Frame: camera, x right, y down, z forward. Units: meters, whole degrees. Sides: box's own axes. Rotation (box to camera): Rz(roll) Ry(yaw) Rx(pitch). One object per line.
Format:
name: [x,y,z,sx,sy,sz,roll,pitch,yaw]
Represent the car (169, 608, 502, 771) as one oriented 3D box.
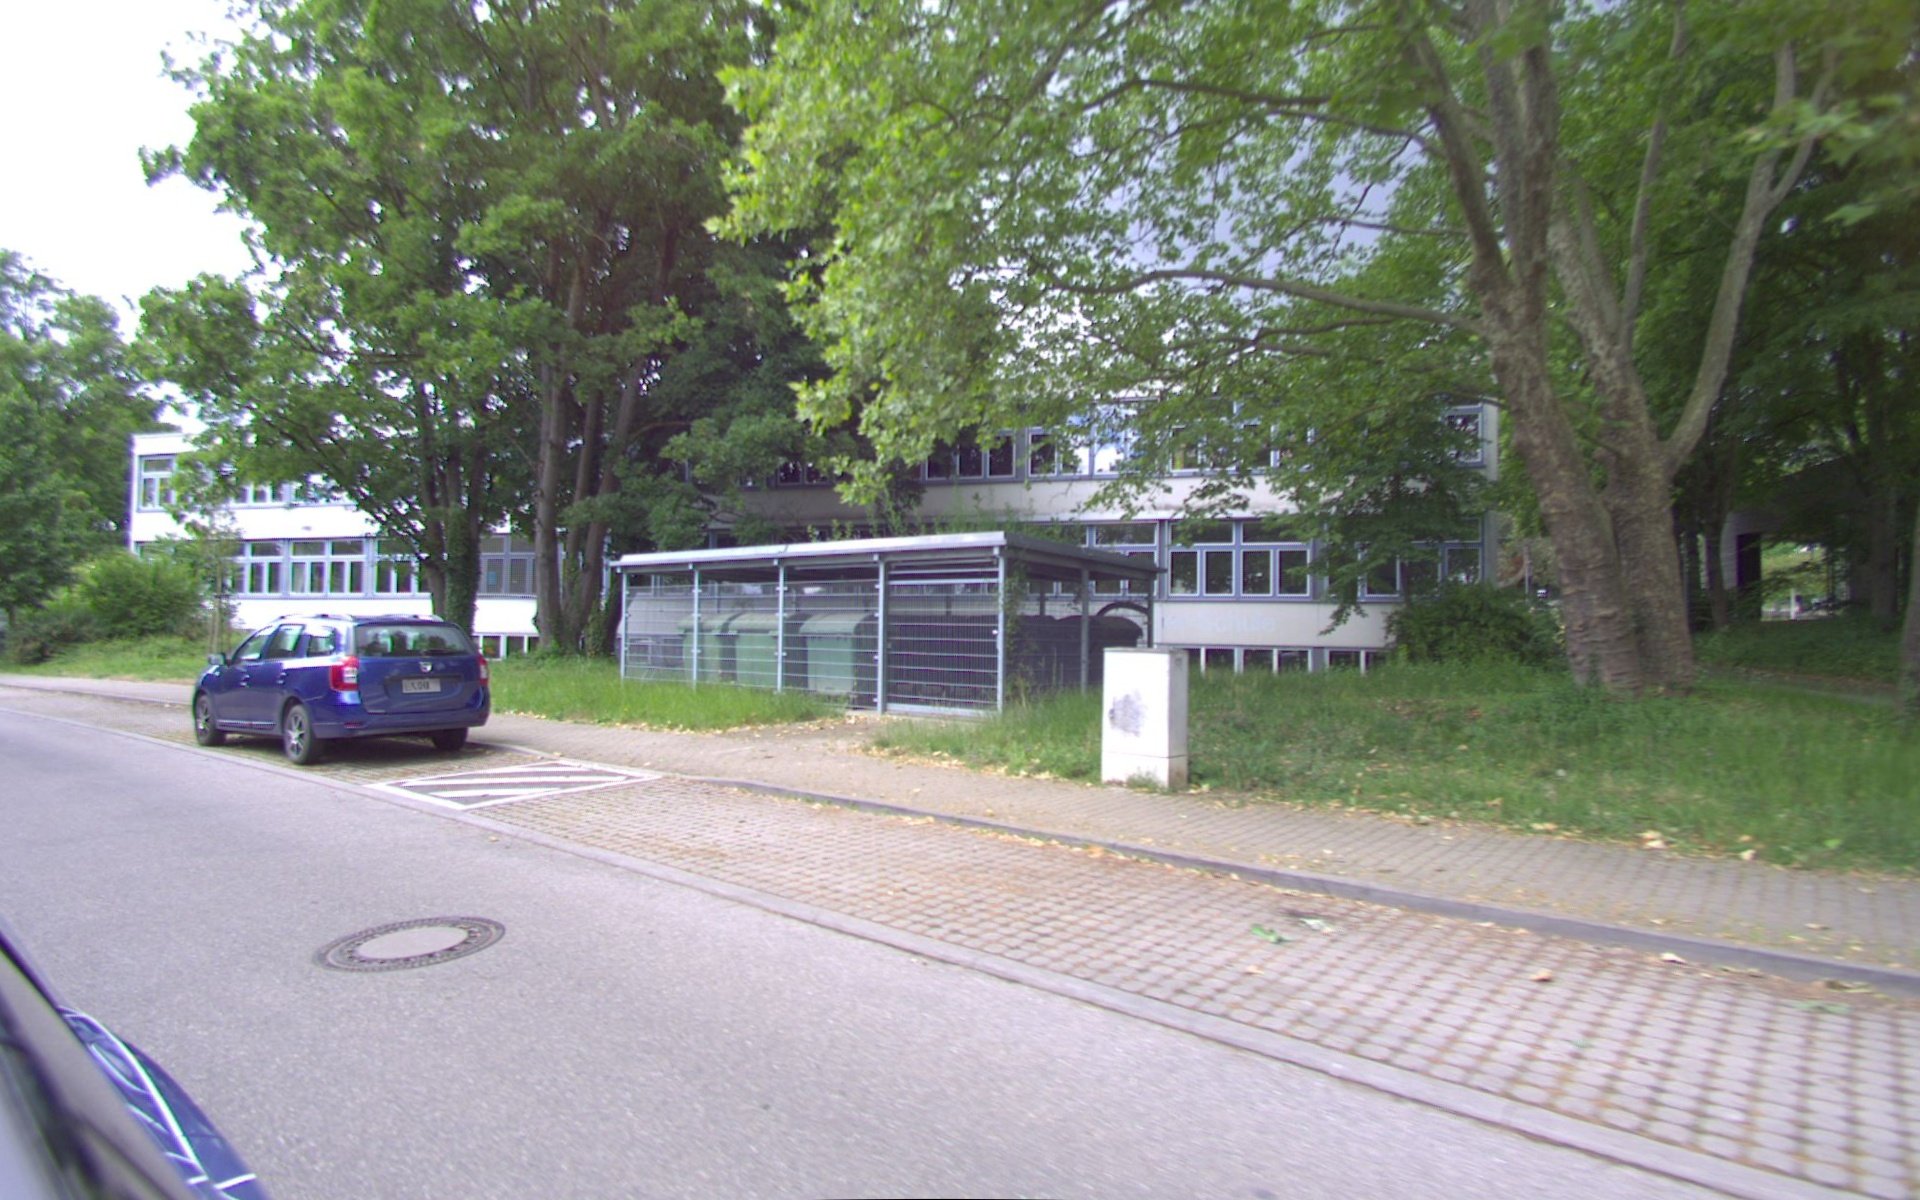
car: [-7.174,0.894,11.460,4.422,1.523,1.665,-1,-2,36]
